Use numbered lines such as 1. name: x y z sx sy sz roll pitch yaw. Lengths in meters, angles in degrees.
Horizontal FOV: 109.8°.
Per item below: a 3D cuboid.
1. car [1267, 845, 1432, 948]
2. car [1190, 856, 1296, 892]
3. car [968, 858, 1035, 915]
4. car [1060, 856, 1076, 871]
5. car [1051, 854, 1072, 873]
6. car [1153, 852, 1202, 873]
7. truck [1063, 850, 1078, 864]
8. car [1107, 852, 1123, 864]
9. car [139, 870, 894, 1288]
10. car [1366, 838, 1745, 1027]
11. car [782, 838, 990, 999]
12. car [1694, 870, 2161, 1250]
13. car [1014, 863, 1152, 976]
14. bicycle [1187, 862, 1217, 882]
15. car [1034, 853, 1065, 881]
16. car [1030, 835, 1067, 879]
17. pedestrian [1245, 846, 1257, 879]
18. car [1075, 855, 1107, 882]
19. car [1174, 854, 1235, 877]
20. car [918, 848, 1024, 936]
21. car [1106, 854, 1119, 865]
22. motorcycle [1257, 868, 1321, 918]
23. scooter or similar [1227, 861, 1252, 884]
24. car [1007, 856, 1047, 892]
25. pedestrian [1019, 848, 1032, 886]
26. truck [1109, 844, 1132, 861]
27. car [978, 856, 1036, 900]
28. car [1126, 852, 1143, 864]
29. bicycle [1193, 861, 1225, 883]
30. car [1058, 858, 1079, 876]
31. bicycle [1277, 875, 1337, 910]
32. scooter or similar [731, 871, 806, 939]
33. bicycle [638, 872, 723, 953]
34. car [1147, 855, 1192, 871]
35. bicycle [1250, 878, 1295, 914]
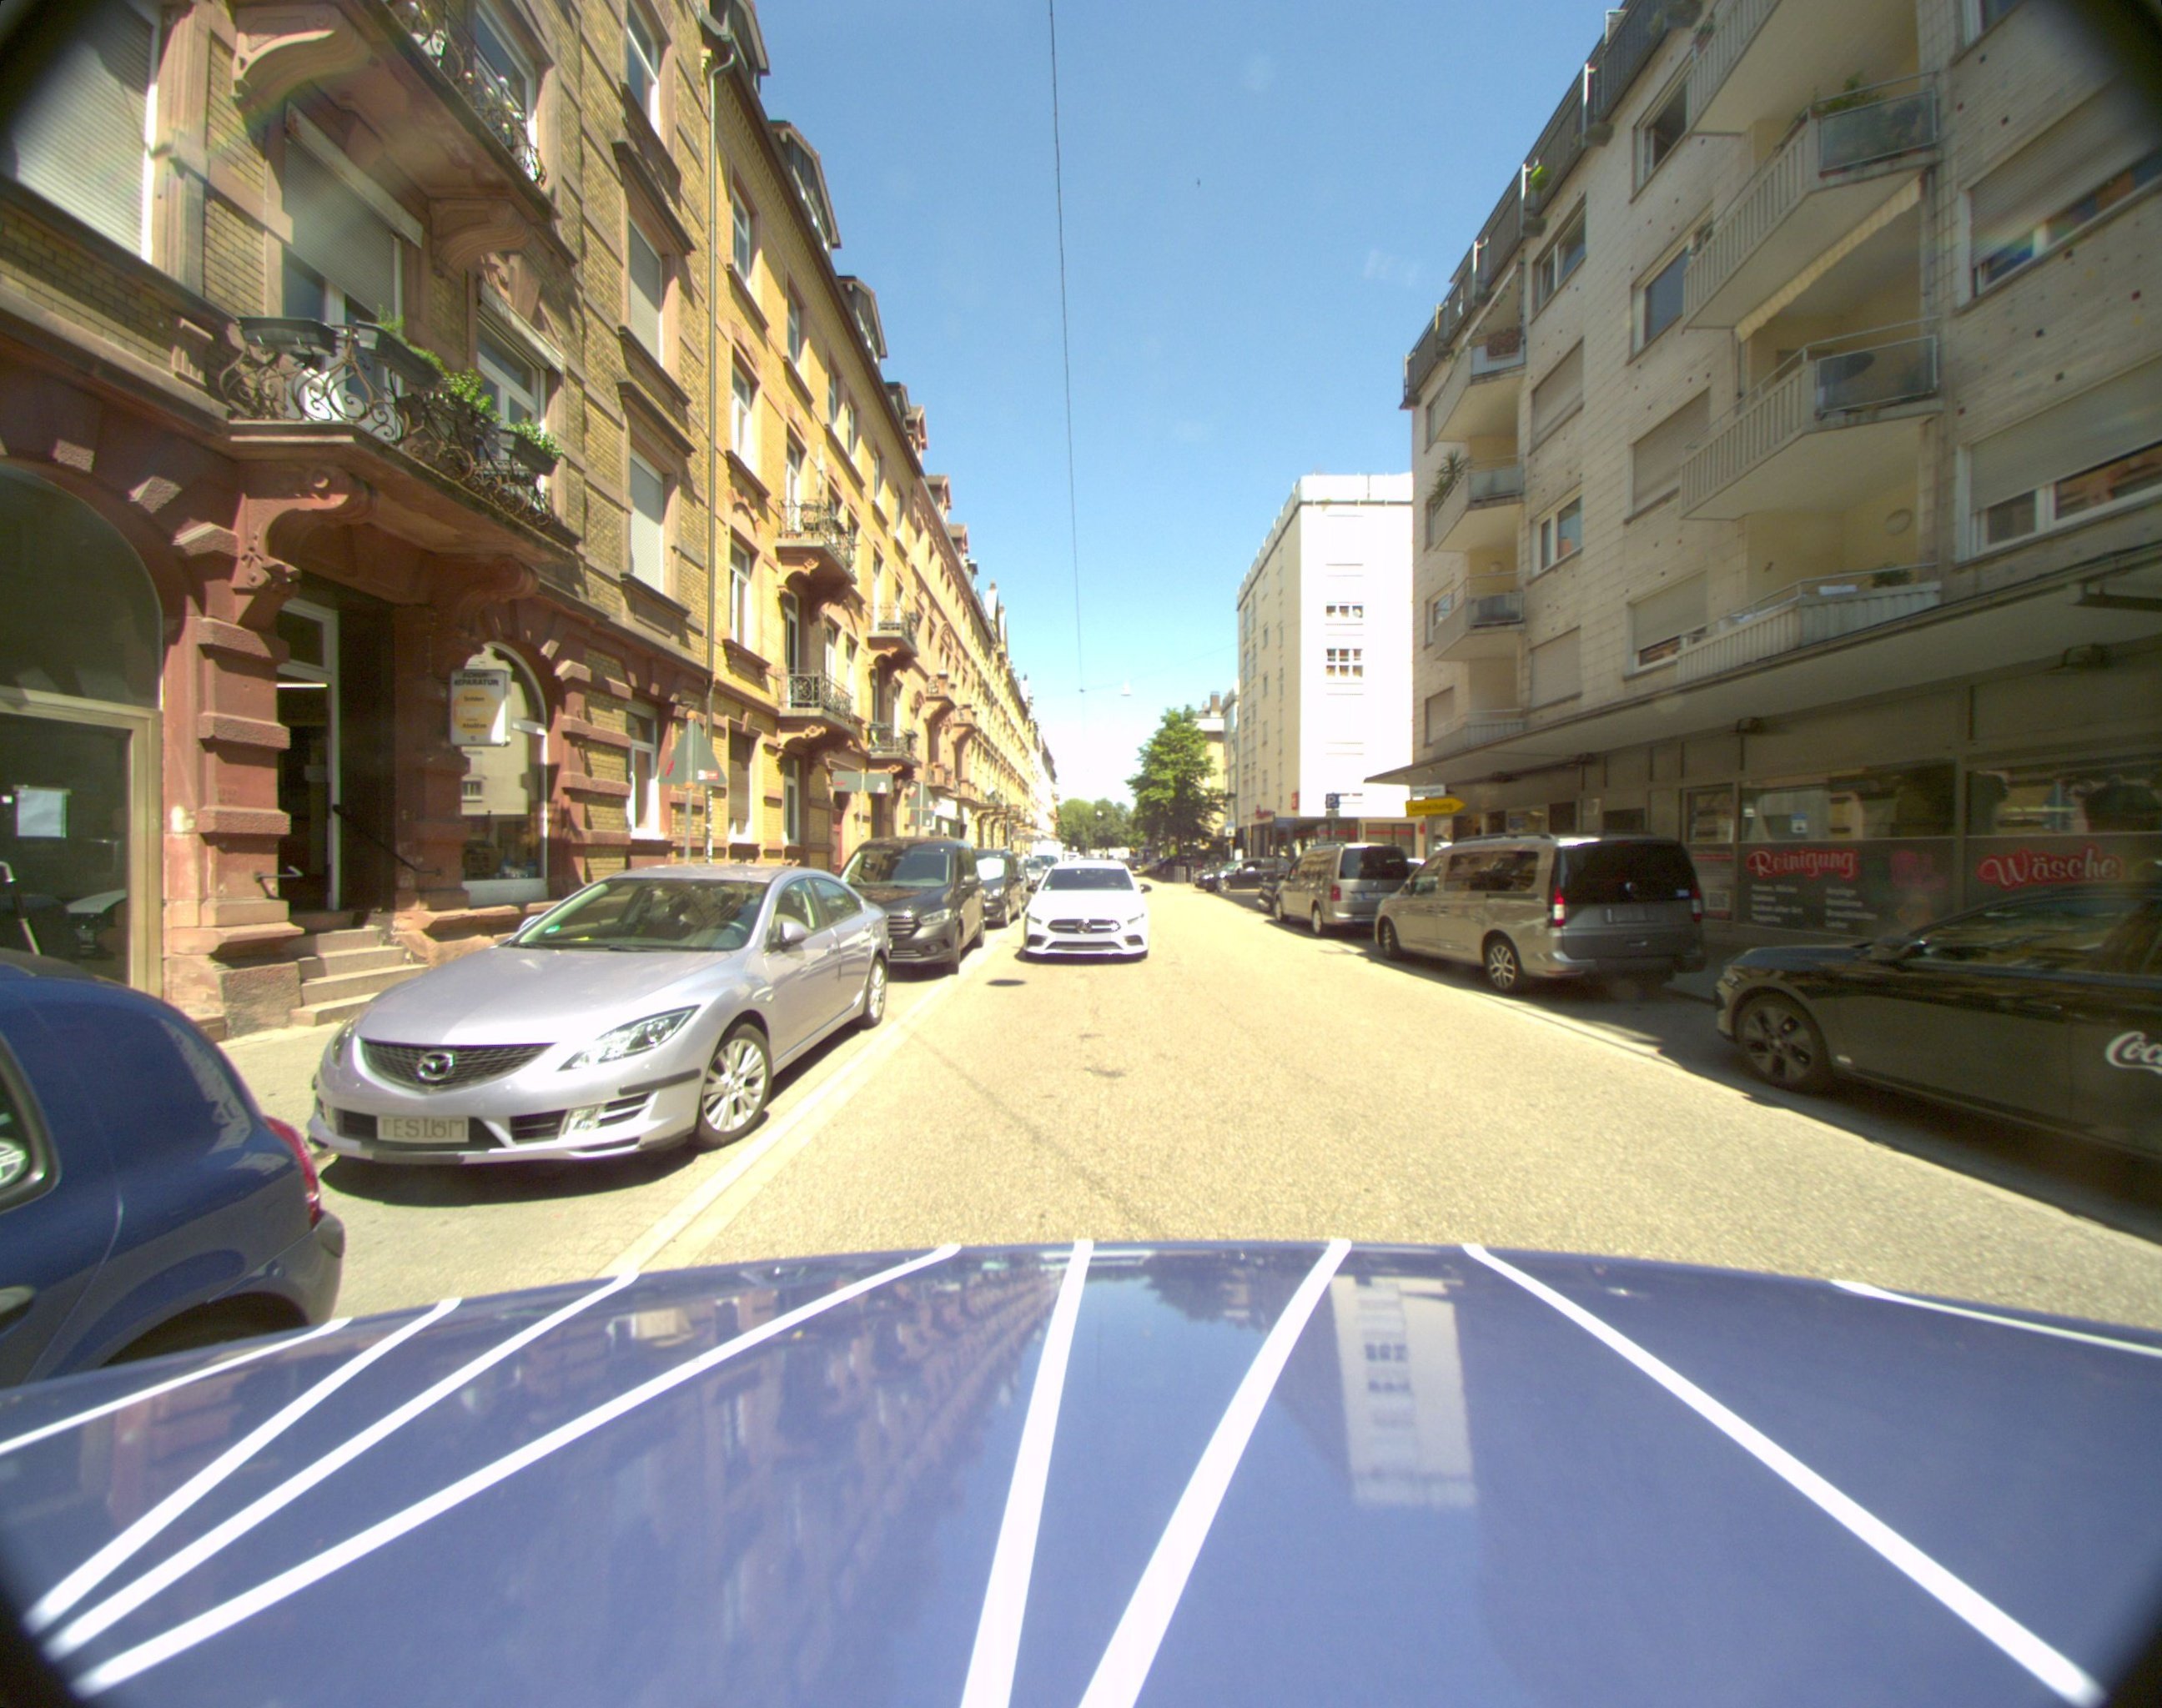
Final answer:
1. car: 5.419 0.768 16.092 1.793 1.818 4.900 -1 0 1
2. car: 6.618 0.801 31.233 3.891 1.417 1.814 0 0 -7
3. car: -2.296 0.880 22.318 1.766 1.441 3.903 -1 0 -5
4. car: -1.447 1.021 83.711 1.682 1.528 3.999 -1 0 -2
5. car: -1.674 0.790 64.936 1.682 1.528 3.999 -1 0 -2
6. car: 8.093 0.706 63.831 3.885 1.737 1.652 0 0 0
7. truck: -1.540 0.392 112.245 1.998 2.002 4.902 0 0 1
8. car: 4.646 0.554 103.077 1.998 1.505 4.000 -2 0 1
9. car: -2.642 0.890 5.063 1.730 1.424 4.485 1 0 -1
10. car: 5.501 0.760 9.728 1.793 1.801 4.698 -1 0 -2
11. car: -2.430 0.711 10.636 1.829 1.756 4.337 1 0 -1
12. car: 5.368 0.891 3.422 1.674 1.516 4.464 -1 0 1
13. car: 0.158 0.883 12.046 1.813 1.417 4.243 0 0 4
14. bicycle: 6.673 0.998 41.838 1.608 1.084 0.371 -2 0 6
15. car: -1.806 0.729 43.959 1.682 1.528 3.999 -1 0 -2
16. car: -2.042 0.182 49.828 2.067 2.687 5.039 -2 0 1
17. pedestrian: 10.940 0.532 48.821 0.608 2.113 0.496 0 1 36
18. car: 0.577 0.799 44.481 1.780 1.460 4.000 -2 0 1
19. car: 8.289 0.758 51.262 3.885 1.520 1.652 0 0 0
20. car: -2.316 0.748 17.003 1.706 1.723 4.000 -1 0 1
21. car: 4.970 0.826 120.794 1.998 1.674 4.000 -2 0 1
22. motorcycle: 5.486 1.009 20.045 1.552 1.277 0.394 -1 2 33
23. scooter or similar: 7.976 0.913 38.343 1.192 1.160 0.289 0 1 -1
24. car: -2.299 0.838 33.313 1.603 1.454 3.689 -1 0 -2
25. pedestrian: -2.832 0.655 38.571 0.635 1.903 0.370 0 1 1
26. truck: 7.405 -0.277 141.228 2.758 3.270 4.965 0 0 23
27. car: -2.672 0.844 28.296 1.830 1.452 3.999 -1 0 -2
28. car: 7.147 0.581 102.273 1.998 1.505 4.000 -2 0 1
29. bicycle: 6.793 0.964 40.295 1.608 1.084 0.371 -2 0 6
30. car: -0.968 1.002 58.676 1.533 1.293 3.686 -1 0 -2
31. bicycle: 6.683 1.122 22.515 1.706 0.951 0.411 -1 1 43
32. scooter or similar: -5.808 0.910 14.252 0.477 1.146 2.149 0 0 1
33. bicycle: -6.049 0.842 11.576 0.354 1.097 1.755 0 0 1
34. car: 8.043 0.824 69.441 3.885 1.487 1.652 0 0 0
35. bicycle: 5.359 1.159 21.298 1.210 0.951 0.338 0 1 43
